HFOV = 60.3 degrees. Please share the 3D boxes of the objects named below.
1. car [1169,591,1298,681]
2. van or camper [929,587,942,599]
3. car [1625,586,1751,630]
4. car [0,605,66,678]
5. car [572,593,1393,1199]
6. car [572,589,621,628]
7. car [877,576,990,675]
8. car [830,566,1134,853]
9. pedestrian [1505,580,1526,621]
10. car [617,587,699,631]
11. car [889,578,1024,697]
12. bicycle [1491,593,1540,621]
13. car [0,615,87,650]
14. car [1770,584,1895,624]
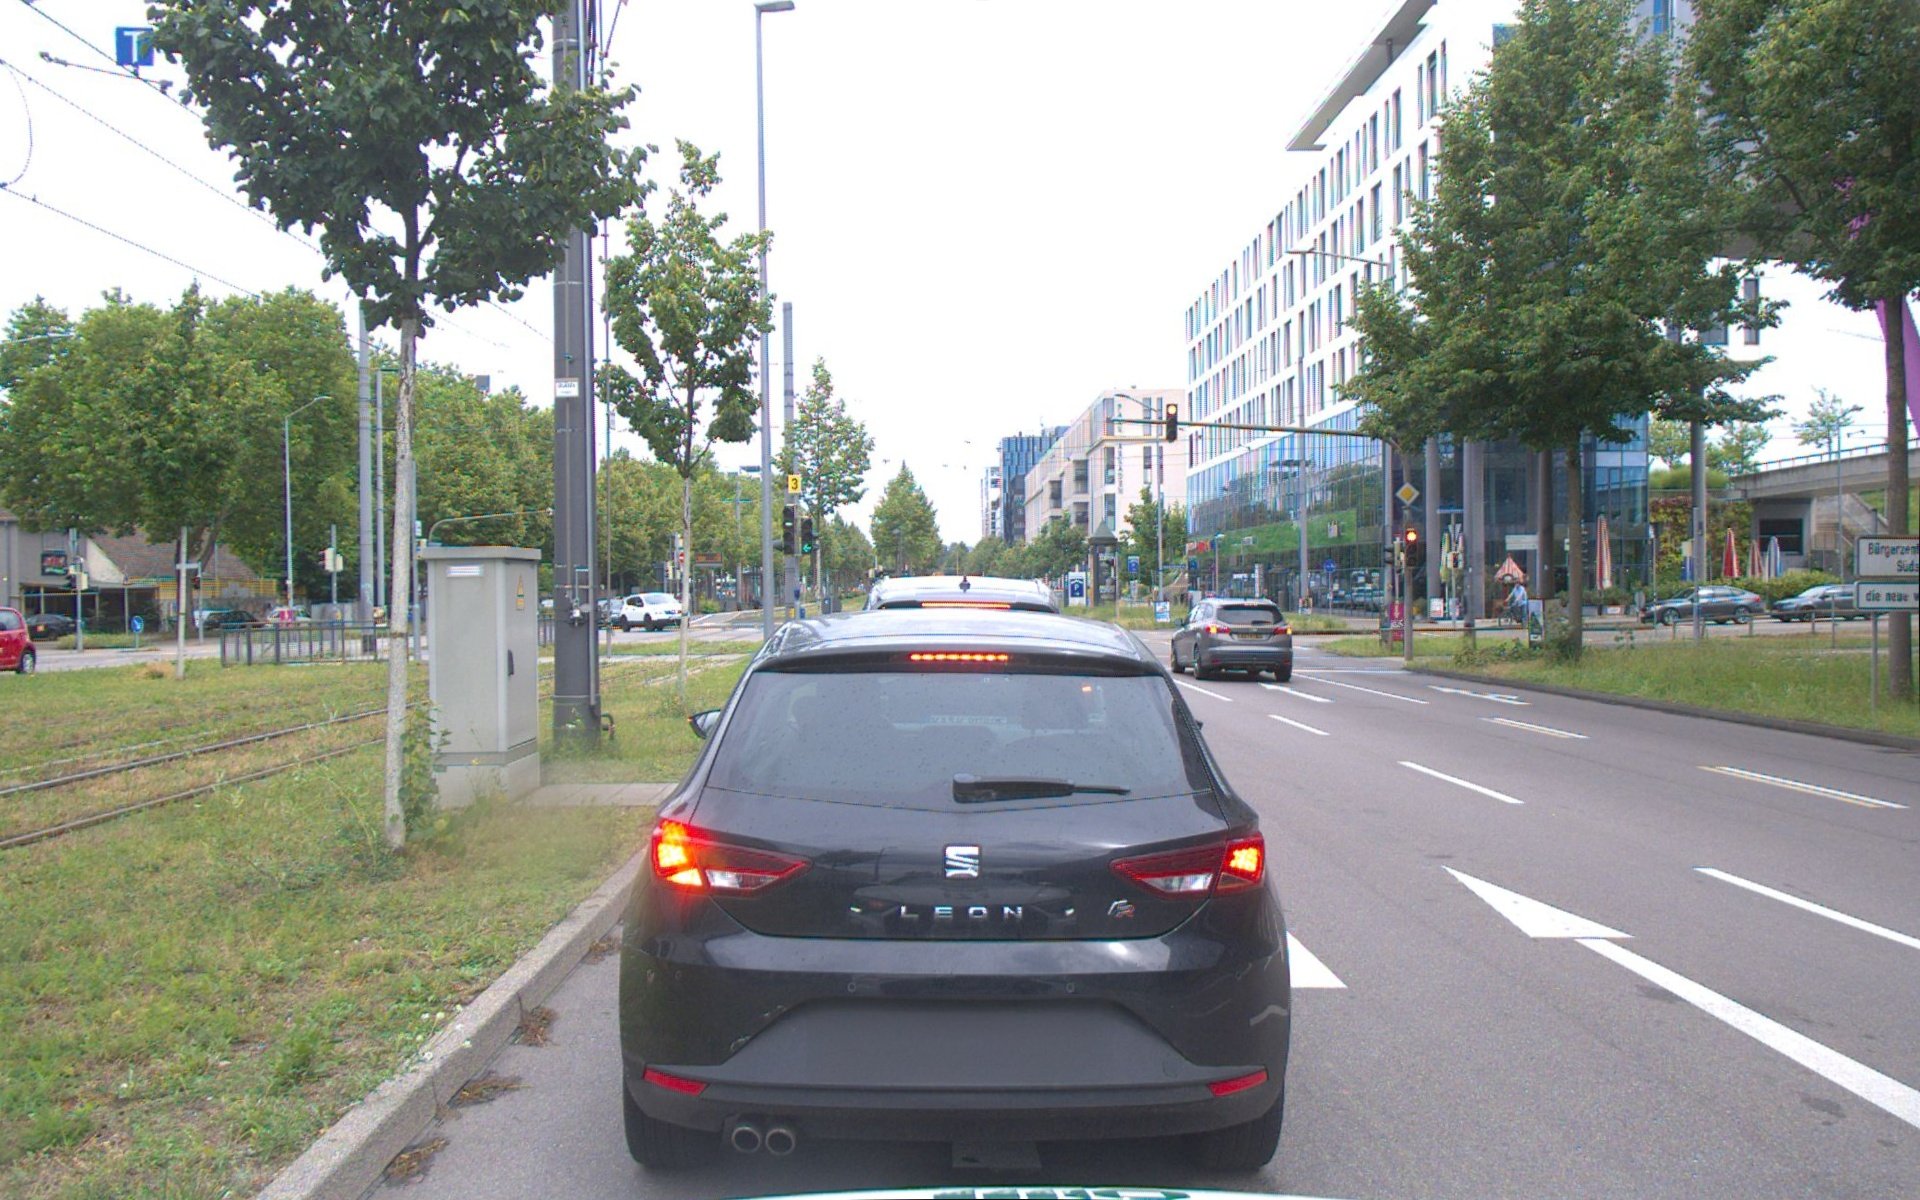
[{"bbox_3d":[5.147,0.625,31.586,1.712,1.525,4.268,0,1,-1],"label":"car"},{"bbox_3d":[-3.830,-1.109,261.013,1.953,1.643,4.789,0,2,0],"label":"van or camper"},{"bbox_3d":[28.513,0.307,64.887,4.163,1.643,1.758,-1,0,1],"label":"car"},{"bbox_3d":[-19.800,0.834,32.919,1.775,1.401,4.268,-1,0,-2],"label":"car"},{"bbox_3d":[-0.002,0.717,5.467,1.708,1.442,3.999,1,0,-2],"label":"car"},{"bbox_3d":[-17.676,0.389,80.298,1.962,1.780,3.980,-1,0,-18],"label":"car"},{"bbox_3d":[-0.432,0.431,31.132,1.952,1.711,4.001,1,1,1],"label":"car"},{"bbox_3d":[0.101,0.626,11.694,1.766,1.653,3.999,-1,0,-1],"label":"car"},{"bbox_3d":[22.380,0.024,66.626,0.602,1.632,0.619,-1,0,1],"label":"pedestrian"},{"bbox_3d":[-12.761,0.347,69.798,1.975,1.780,4.153,-1,0,-33],"label":"car"},{"bbox_3d":[0.027,0.521,26.078,1.952,1.711,4.001,1,1,2],"label":"car"},{"bbox_3d":[22.361,0.294,66.629,1.755,1.104,0.618,-1,0,1],"label":"bicycle"},{"bbox_3d":[-50.477,1.777,90.628,4.190,1.847,2.108,-1,0,3],"label":"car"},{"bbox_3d":[34.420,0.148,65.297,3.996,1.480,1.758,-1,0,1],"label":"car"}]
